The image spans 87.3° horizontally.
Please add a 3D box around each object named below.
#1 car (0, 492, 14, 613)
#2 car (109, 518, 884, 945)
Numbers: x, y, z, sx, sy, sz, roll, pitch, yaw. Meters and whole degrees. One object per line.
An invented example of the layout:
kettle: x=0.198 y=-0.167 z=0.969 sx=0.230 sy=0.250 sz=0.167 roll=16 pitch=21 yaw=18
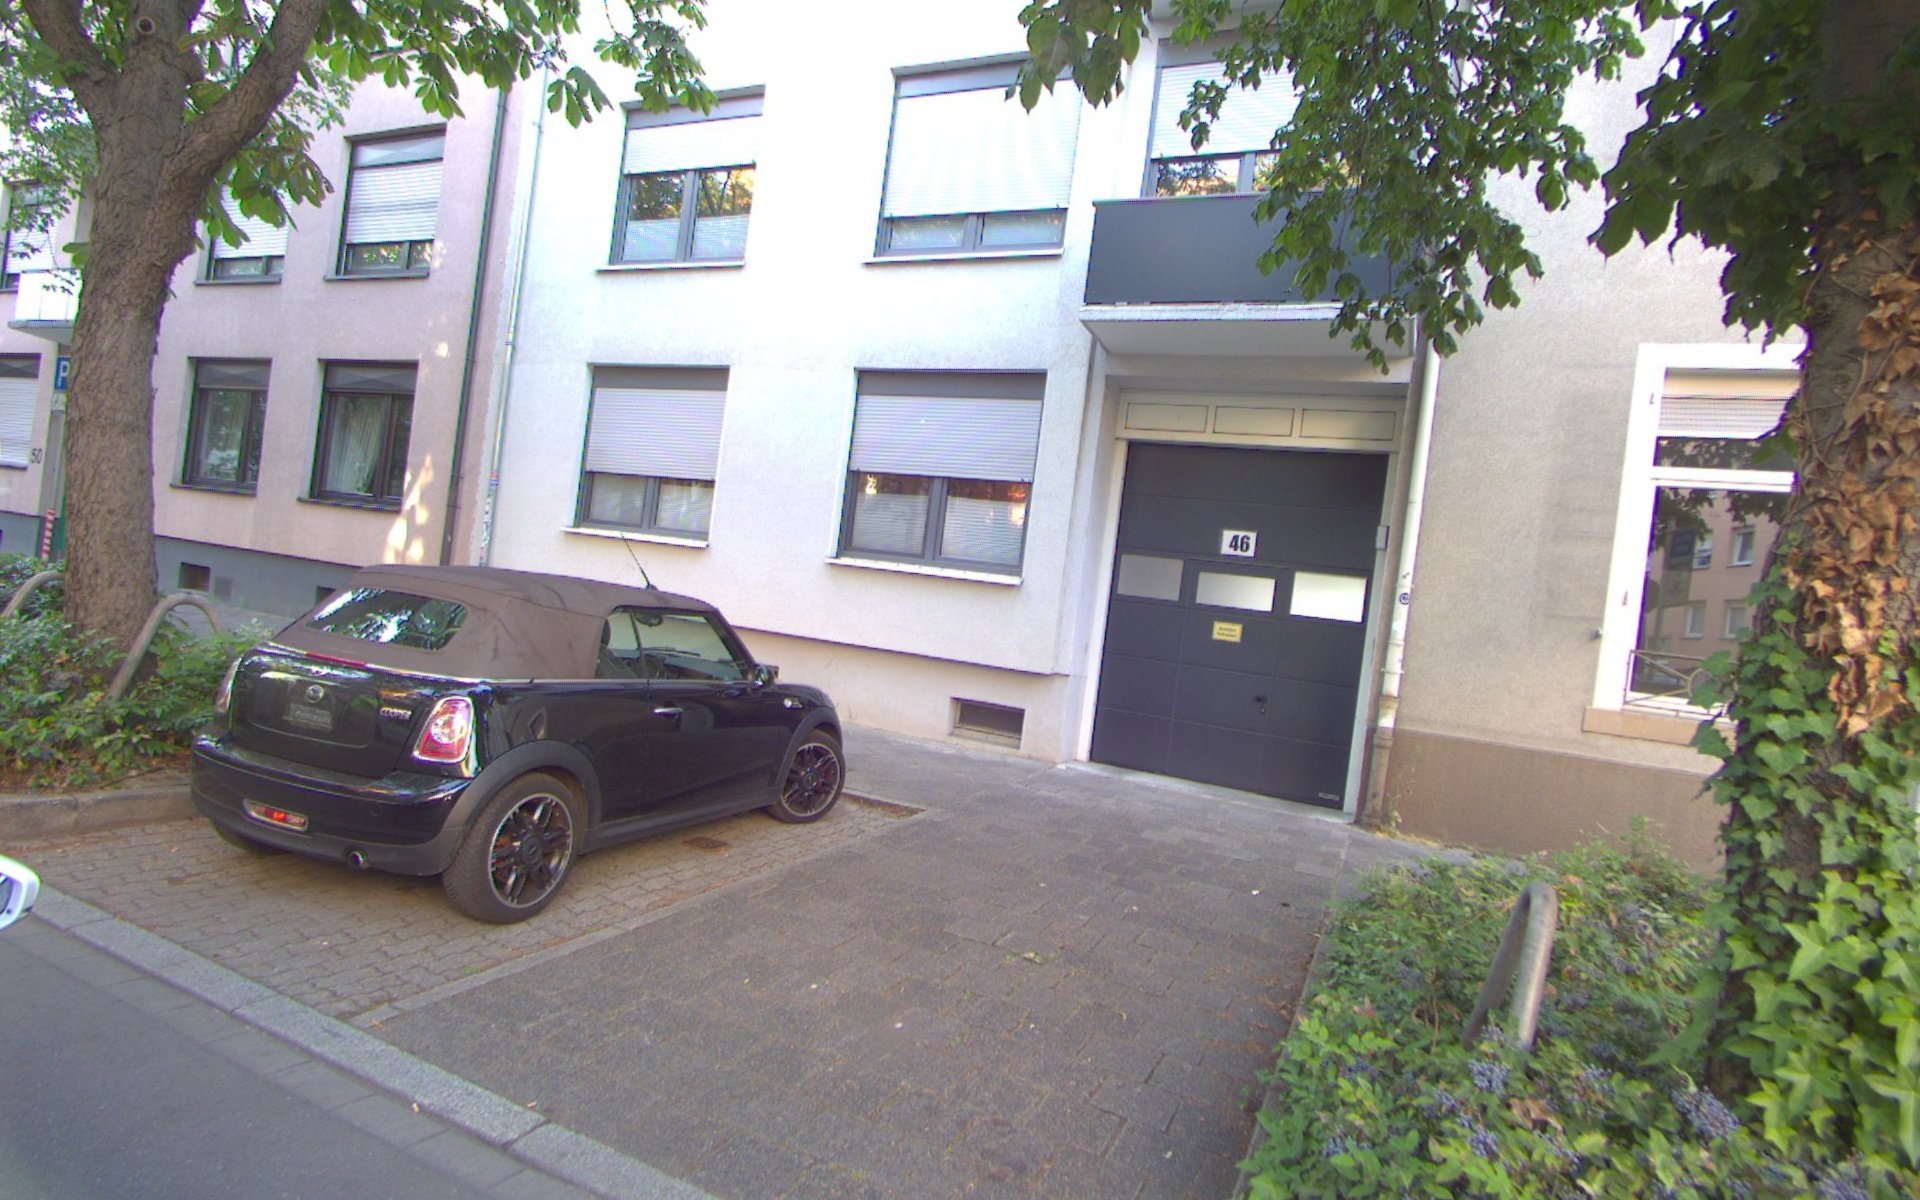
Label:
car: x=-13.353 y=-0.801 z=11.036 sx=1.634 sy=1.494 sz=3.921 roll=7 pitch=-1 yaw=24
car: x=-2.022 y=0.553 z=5.526 sx=1.634 sy=1.380 sz=3.622 roll=7 pitch=-1 yaw=22
